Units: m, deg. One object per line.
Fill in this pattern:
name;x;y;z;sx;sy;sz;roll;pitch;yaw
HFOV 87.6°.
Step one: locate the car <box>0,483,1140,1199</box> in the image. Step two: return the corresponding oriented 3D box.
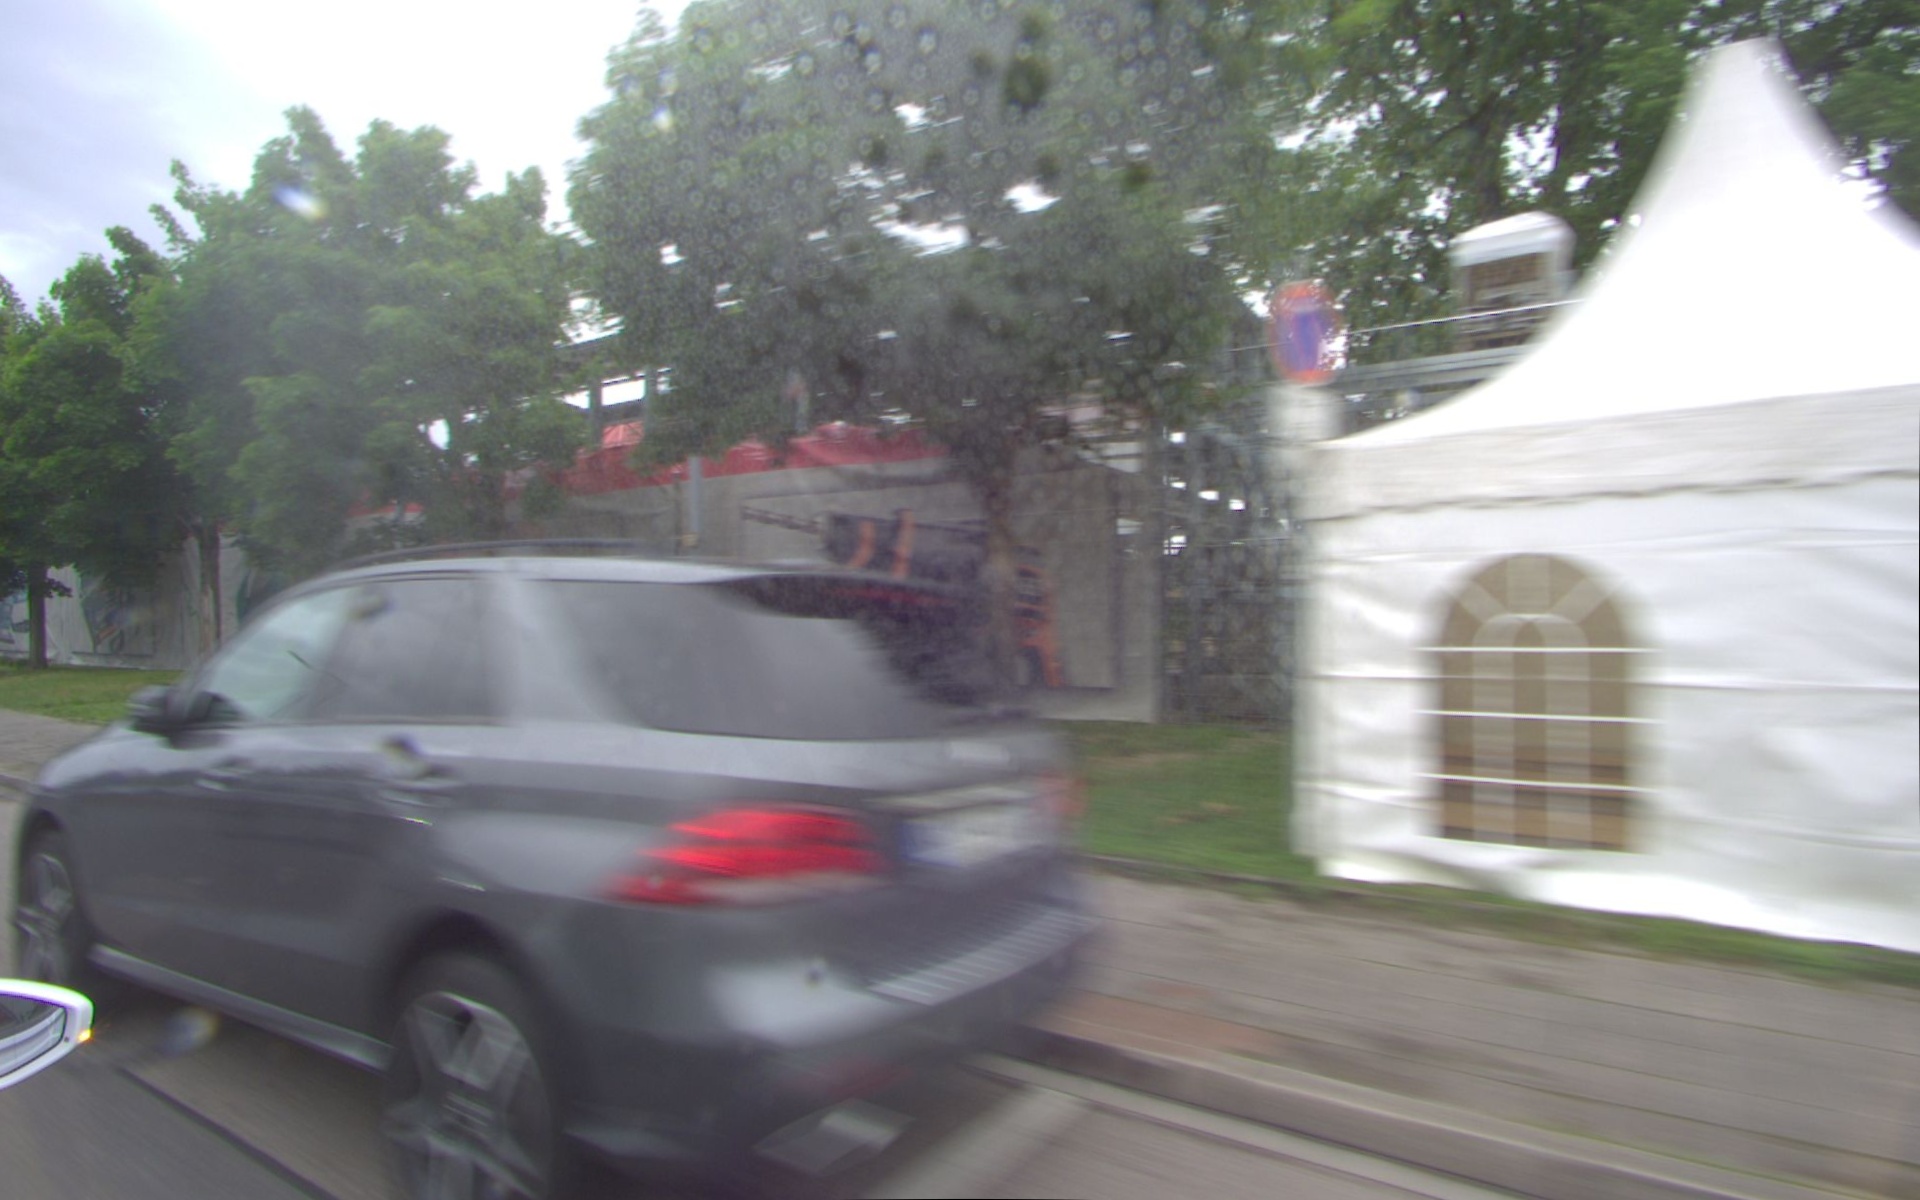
car;-1.752;0.745;3.830;4.417;1.762;1.906;-1;-3;33
